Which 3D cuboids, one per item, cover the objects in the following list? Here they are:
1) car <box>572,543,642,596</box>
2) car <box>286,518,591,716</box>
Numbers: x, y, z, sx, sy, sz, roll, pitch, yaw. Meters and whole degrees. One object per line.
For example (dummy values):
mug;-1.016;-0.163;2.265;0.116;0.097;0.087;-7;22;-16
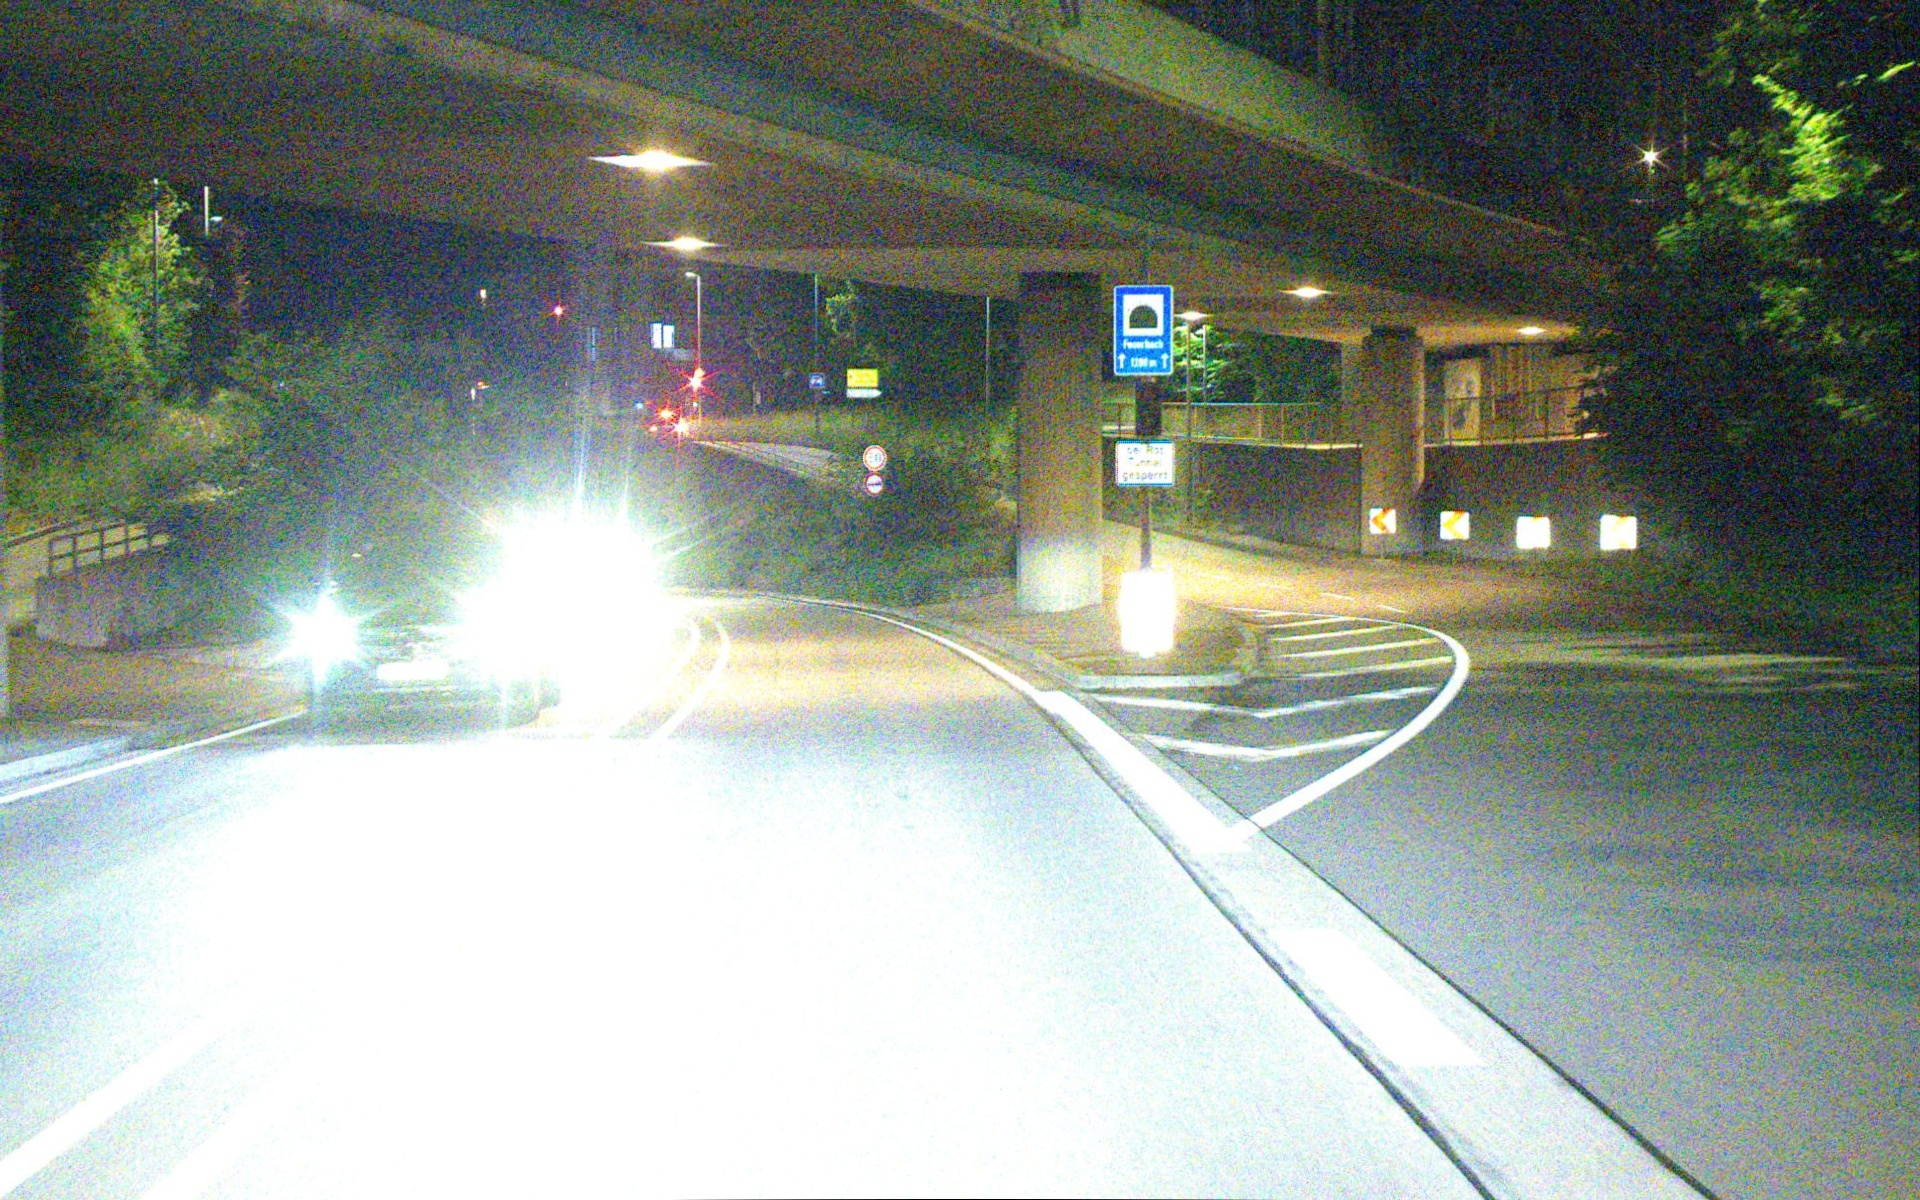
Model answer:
car;-9.931;-0.838;96.950;1.787;1.442;4.172;0;0;-4
car;-4.408;0.127;29.679;1.882;1.549;4.217;-1;0;1
